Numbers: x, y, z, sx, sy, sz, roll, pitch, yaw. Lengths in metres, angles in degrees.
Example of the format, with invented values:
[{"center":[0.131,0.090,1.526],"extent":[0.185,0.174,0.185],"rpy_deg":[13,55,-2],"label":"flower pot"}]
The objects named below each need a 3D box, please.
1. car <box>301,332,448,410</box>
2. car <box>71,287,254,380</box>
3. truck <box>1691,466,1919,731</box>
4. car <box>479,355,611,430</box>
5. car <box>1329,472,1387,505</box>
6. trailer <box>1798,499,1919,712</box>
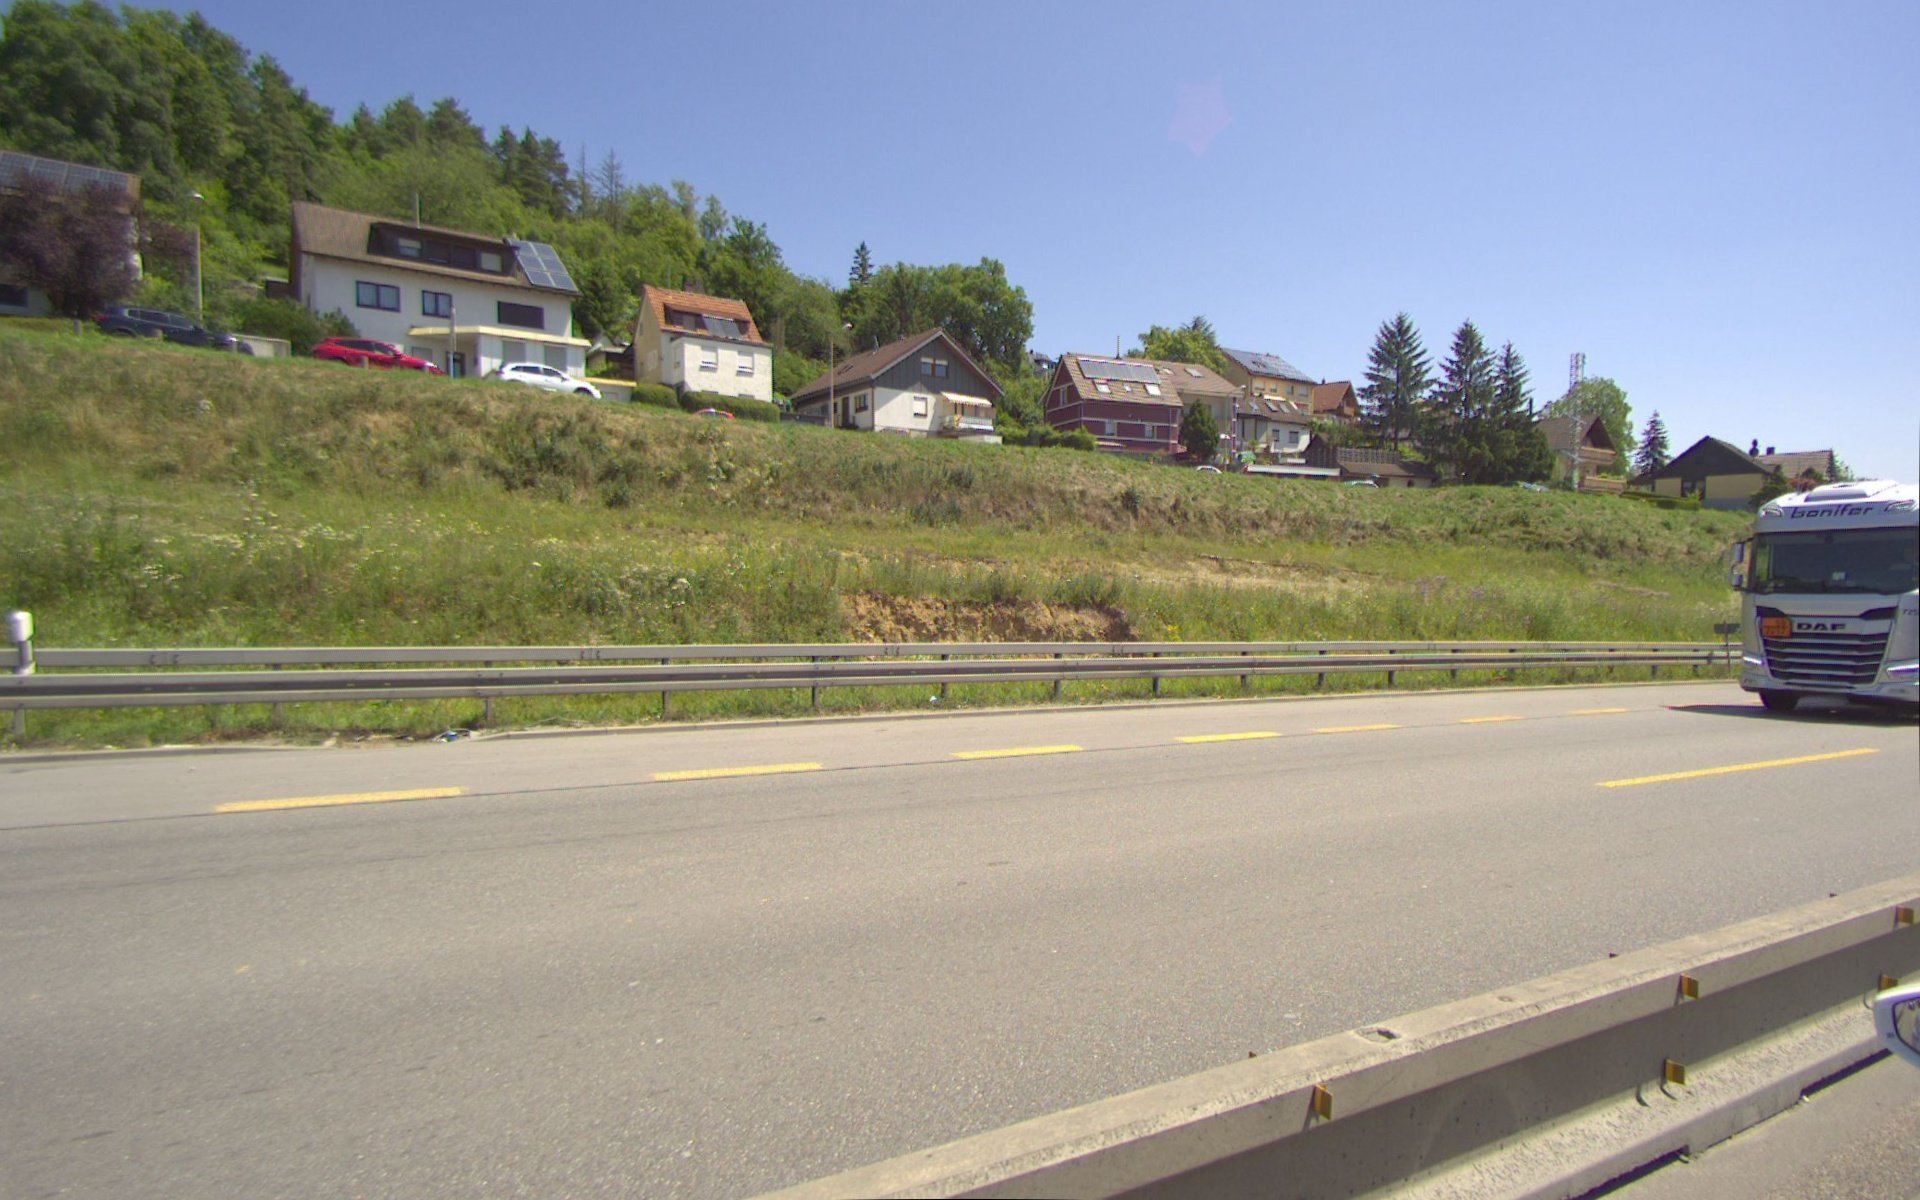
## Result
[{"center":[-22.658,-8.775,38.941],"extent":[4.751,1.817,2.334],"rpy_deg":[3,-1,-33],"label":"car"},{"center":[-27.022,-9.000,34.275],"extent":[4.719,1.817,2.163],"rpy_deg":[3,-1,-37],"label":"car"},{"center":[15.436,0.020,16.927],"extent":[6.204,3.722,2.765],"rpy_deg":[1,0,-31],"label":"truck"},{"center":[-17.514,-8.696,42.470],"extent":[4.767,2.068,2.334],"rpy_deg":[3,-1,-33],"label":"car"},{"center":[31.167,-8.722,78.670],"extent":[3.945,2.040,1.988],"rpy_deg":[3,0,-25],"label":"car"},{"center":[21.244,0.191,20.435],"extent":[11.658,3.642,2.703],"rpy_deg":[1,0,-31],"label":"trailer"}]
